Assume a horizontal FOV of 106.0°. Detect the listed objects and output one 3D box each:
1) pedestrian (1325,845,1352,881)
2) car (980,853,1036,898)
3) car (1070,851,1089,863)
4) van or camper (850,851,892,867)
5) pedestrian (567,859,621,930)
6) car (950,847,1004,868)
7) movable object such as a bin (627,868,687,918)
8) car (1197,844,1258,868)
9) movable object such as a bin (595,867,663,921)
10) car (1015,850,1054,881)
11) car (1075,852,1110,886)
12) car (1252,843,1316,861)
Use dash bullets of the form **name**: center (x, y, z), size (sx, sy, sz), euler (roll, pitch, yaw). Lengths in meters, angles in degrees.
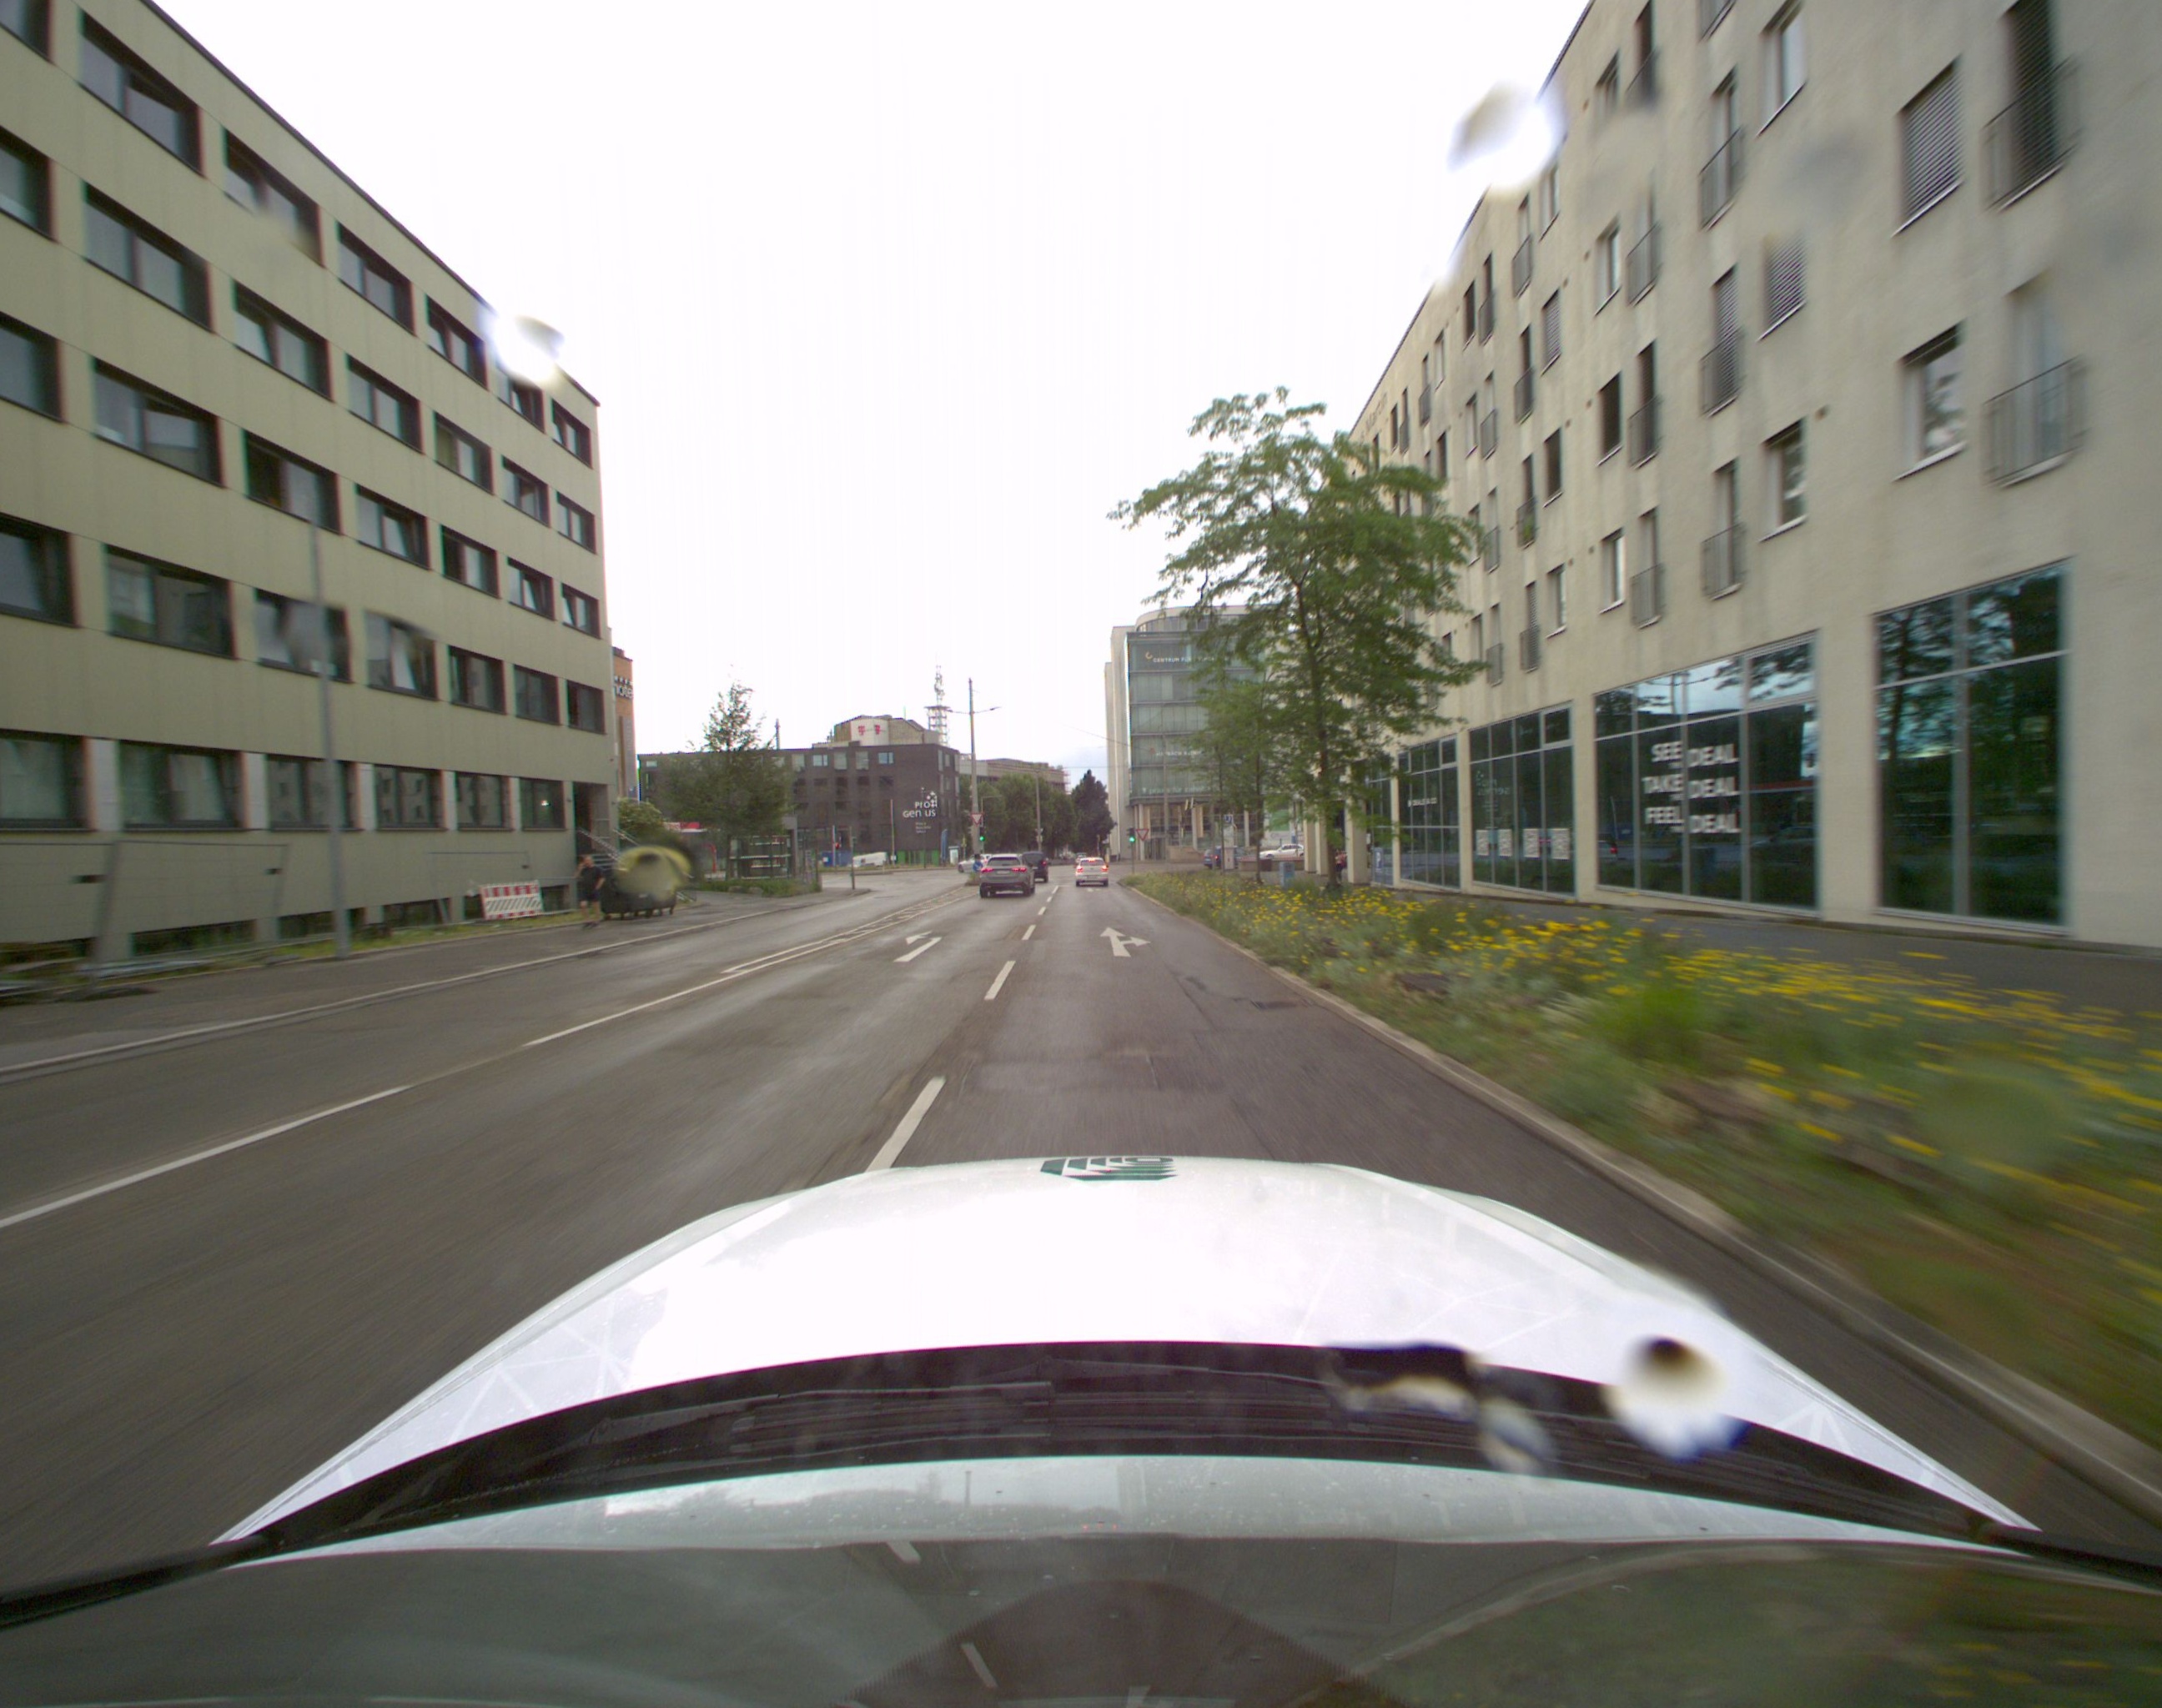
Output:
- **pedestrian**: center (12.840, 0.435, 40.637), size (1.094, 1.712, 0.865), euler (-1, 2, -42)
- **car**: center (-2.797, 0.766, 31.955), size (1.903, 1.632, 4.208), euler (0, 0, -1)
- **car**: center (-0.202, 0.407, 114.831), size (1.994, 1.717, 3.986), euler (0, 0, -10)
- **van or camper**: center (-29.789, 0.710, 115.823), size (5.315, 2.369, 2.737), euler (0, 0, -2)
- **pedestrian**: center (-12.142, 0.995, 20.317), size (0.752, 1.732, 0.942), euler (0, -1, 3)
- **car**: center (-8.292, 0.275, 64.751), size (2.012, 1.579, 4.436), euler (0, 0, -45)
- **movable object such as a bin**: center (-12.655, 1.142, 24.351), size (1.050, 1.445, 1.358), euler (1, 0, 1)
- **car**: center (10.944, 0.124, 60.945), size (4.001, 1.573, 1.987), euler (-3, 2, -20)
- **movable object such as a bin**: center (-12.687, 1.105, 22.898), size (1.050, 1.445, 1.431), euler (1, 0, 1)
- **car**: center (-2.862, 0.667, 49.320), size (1.852, 1.768, 4.117), euler (-2, 0, -10)
- **car**: center (0.562, 0.751, 42.605), size (1.666, 1.473, 3.779), euler (-2, 2, -1)
- **car**: center (17.306, -0.174, 69.551), size (4.934, 1.387, 1.822), euler (-2, 1, -2)
